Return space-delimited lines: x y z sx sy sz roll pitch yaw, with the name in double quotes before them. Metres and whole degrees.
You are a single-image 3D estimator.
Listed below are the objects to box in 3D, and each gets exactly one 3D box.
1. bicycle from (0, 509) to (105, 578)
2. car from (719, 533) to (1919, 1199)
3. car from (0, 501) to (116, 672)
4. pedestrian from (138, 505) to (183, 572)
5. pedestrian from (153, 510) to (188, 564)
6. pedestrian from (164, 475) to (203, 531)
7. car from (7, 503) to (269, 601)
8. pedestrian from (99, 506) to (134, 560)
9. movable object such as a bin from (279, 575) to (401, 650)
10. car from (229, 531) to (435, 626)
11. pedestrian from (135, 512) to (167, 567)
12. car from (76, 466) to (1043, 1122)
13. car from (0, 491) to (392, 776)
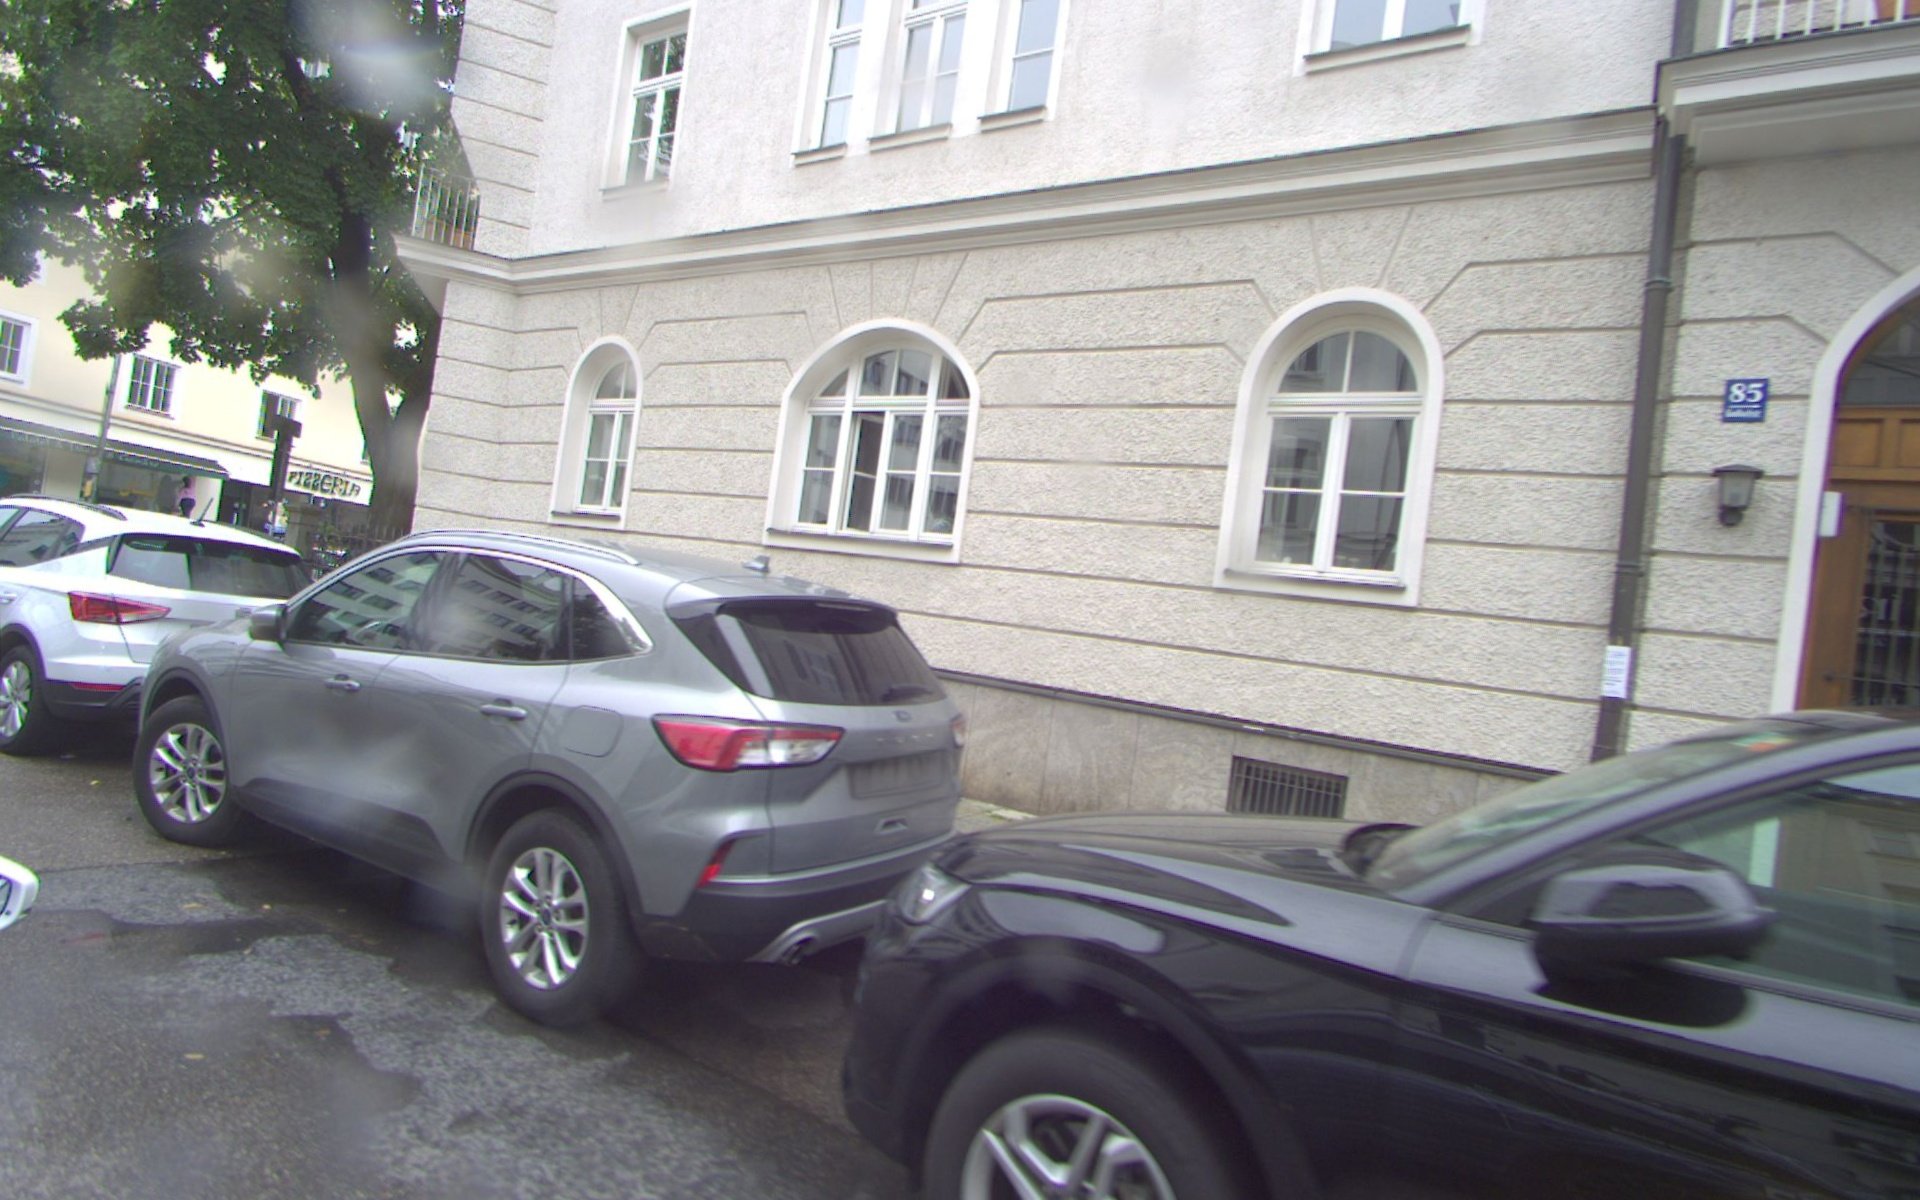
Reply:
"bicycle" -21.470 -1.335 23.334 1.086 1.267 2.091 8 -2 22
"car" 1.783 0.986 2.043 4.304 1.654 1.781 7 -3 33
"car" -10.221 -0.363 9.775 4.142 1.451 1.674 7 -2 30
"pedestrian" -22.204 -1.697 27.940 0.533 1.722 0.604 9 0 22
"pedestrian" -24.125 -1.915 30.737 0.525 1.569 0.435 7 -1 3
"pedestrian" -24.279 -3.030 31.463 0.567 1.592 0.554 7 -2 21
"car" -19.130 -1.045 23.697 1.787 1.609 4.354 6 -3 20
"pedestrian" -24.113 -1.912 28.775 0.507 1.450 0.579 8 -1 -28
"movable object such as a bin" -8.701 0.181 14.133 1.198 0.854 0.902 7 -1 29
"car" -13.463 -0.403 21.762 1.598 1.504 3.333 9 -1 23
"pedestrian" -24.115 -1.798 29.993 0.553 1.555 0.430 9 0 -37
"car" -2.045 0.502 4.775 4.351 1.733 1.794 7 -1 30
"car" -6.192 0.097 7.198 3.841 1.513 1.756 7 -2 27
